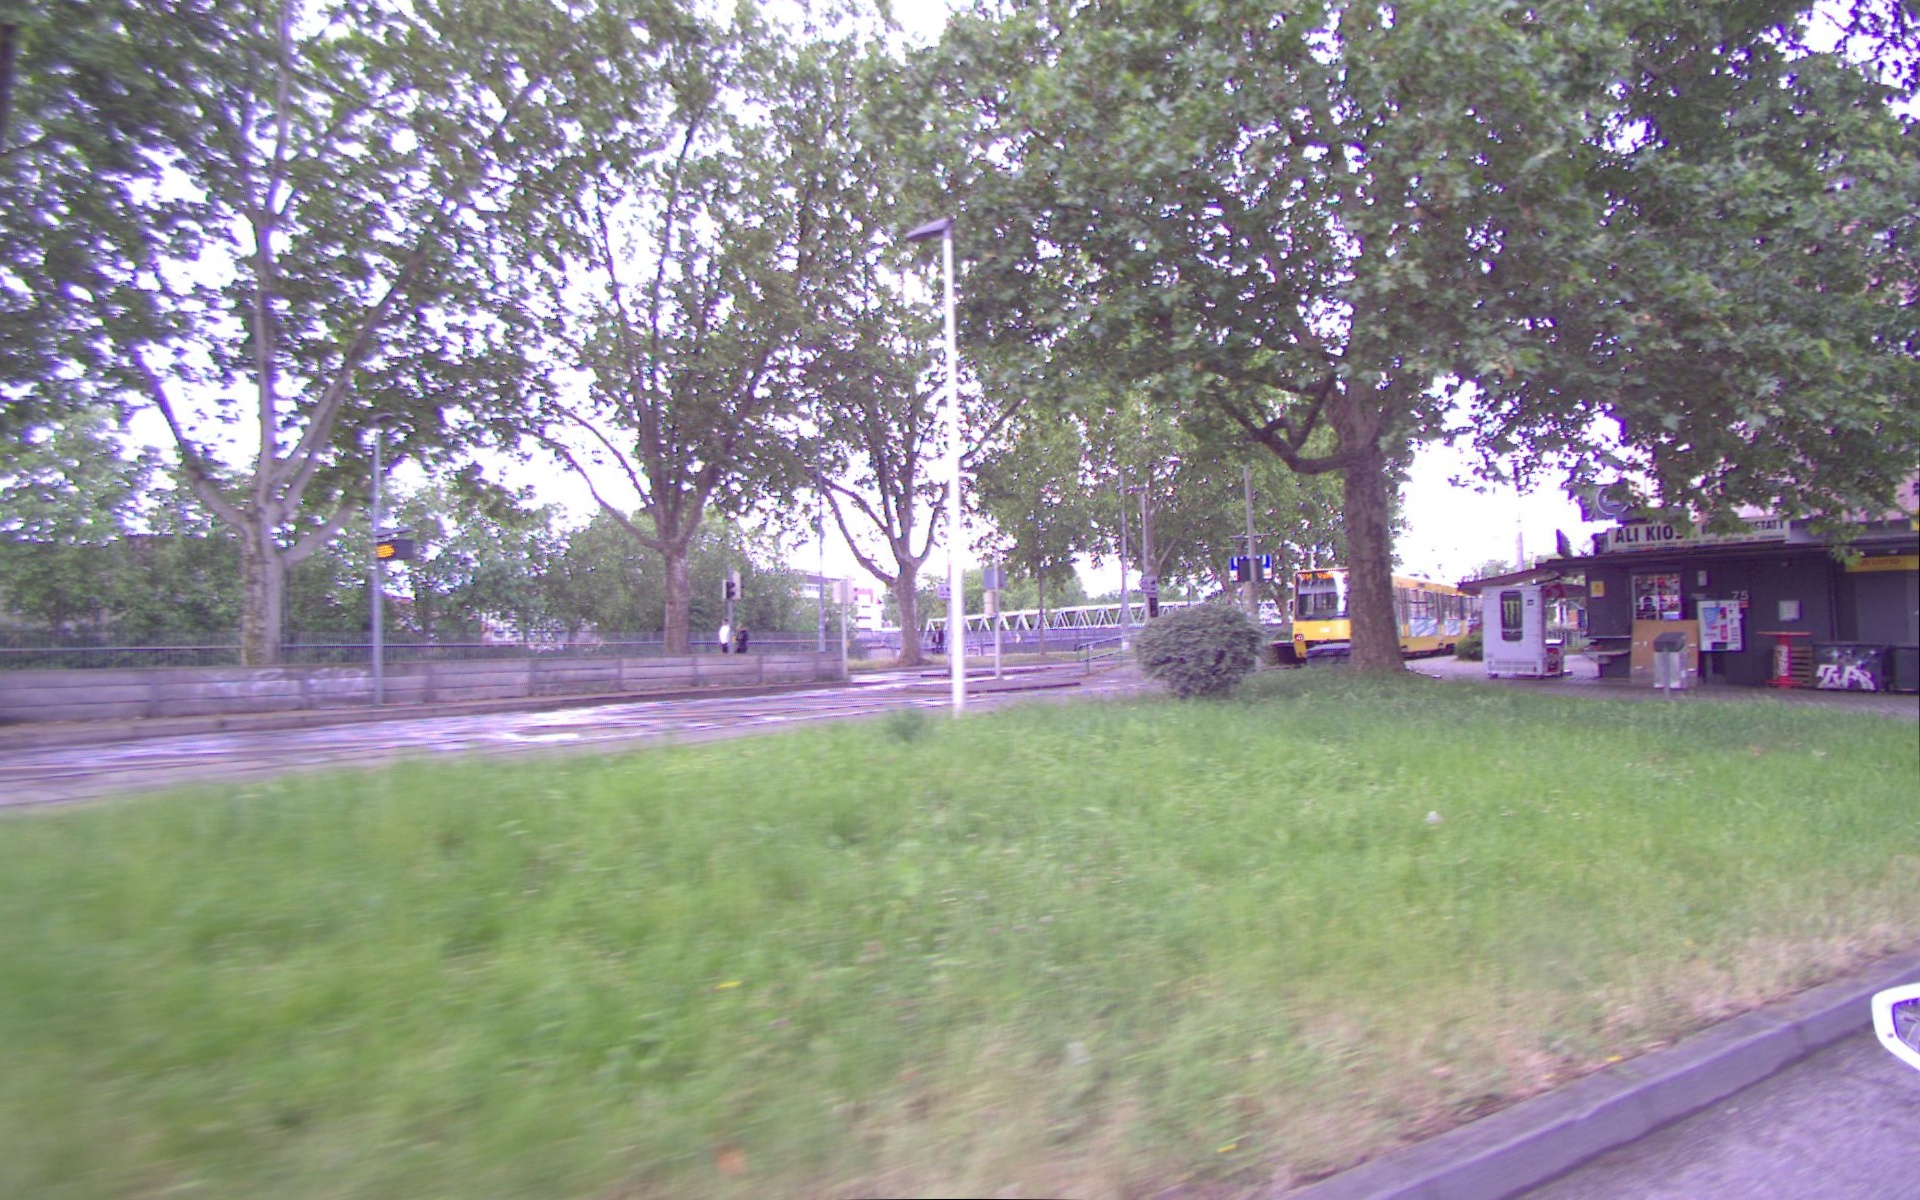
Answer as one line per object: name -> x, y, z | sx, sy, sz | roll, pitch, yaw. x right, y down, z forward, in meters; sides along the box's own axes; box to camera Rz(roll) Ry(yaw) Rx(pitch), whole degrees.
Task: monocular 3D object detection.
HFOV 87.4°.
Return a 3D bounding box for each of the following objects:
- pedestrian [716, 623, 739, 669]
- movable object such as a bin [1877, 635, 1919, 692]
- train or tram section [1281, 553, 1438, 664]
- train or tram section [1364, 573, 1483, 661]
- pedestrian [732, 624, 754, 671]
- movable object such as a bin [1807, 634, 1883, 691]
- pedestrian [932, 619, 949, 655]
pedestrian -> -8.493, 1.692, 36.692 | 0.493, 1.644, 0.533 | 2, -1, 35
movable object such as a bin -> 17.843, 1.184, 18.924 | 0.662, 0.978, 1.076 | 2, 2, 34
train or tram section -> 15.750, 0.471, 38.879 | 2.878, 3.720, 10.967 | 2, -1, 36
train or tram section -> 22.238, 0.895, 47.710 | 2.878, 3.720, 10.967 | 2, -1, 36
pedestrian -> -7.836, 1.718, 36.261 | 0.493, 1.644, 0.533 | 2, -1, 35
movable object such as a bin -> 17.105, 1.198, 19.443 | 0.952, 0.978, 1.109 | 2, 2, 34
pedestrian -> -0.918, 1.757, 47.542 | 0.653, 1.644, 0.535 | 2, -1, 14
